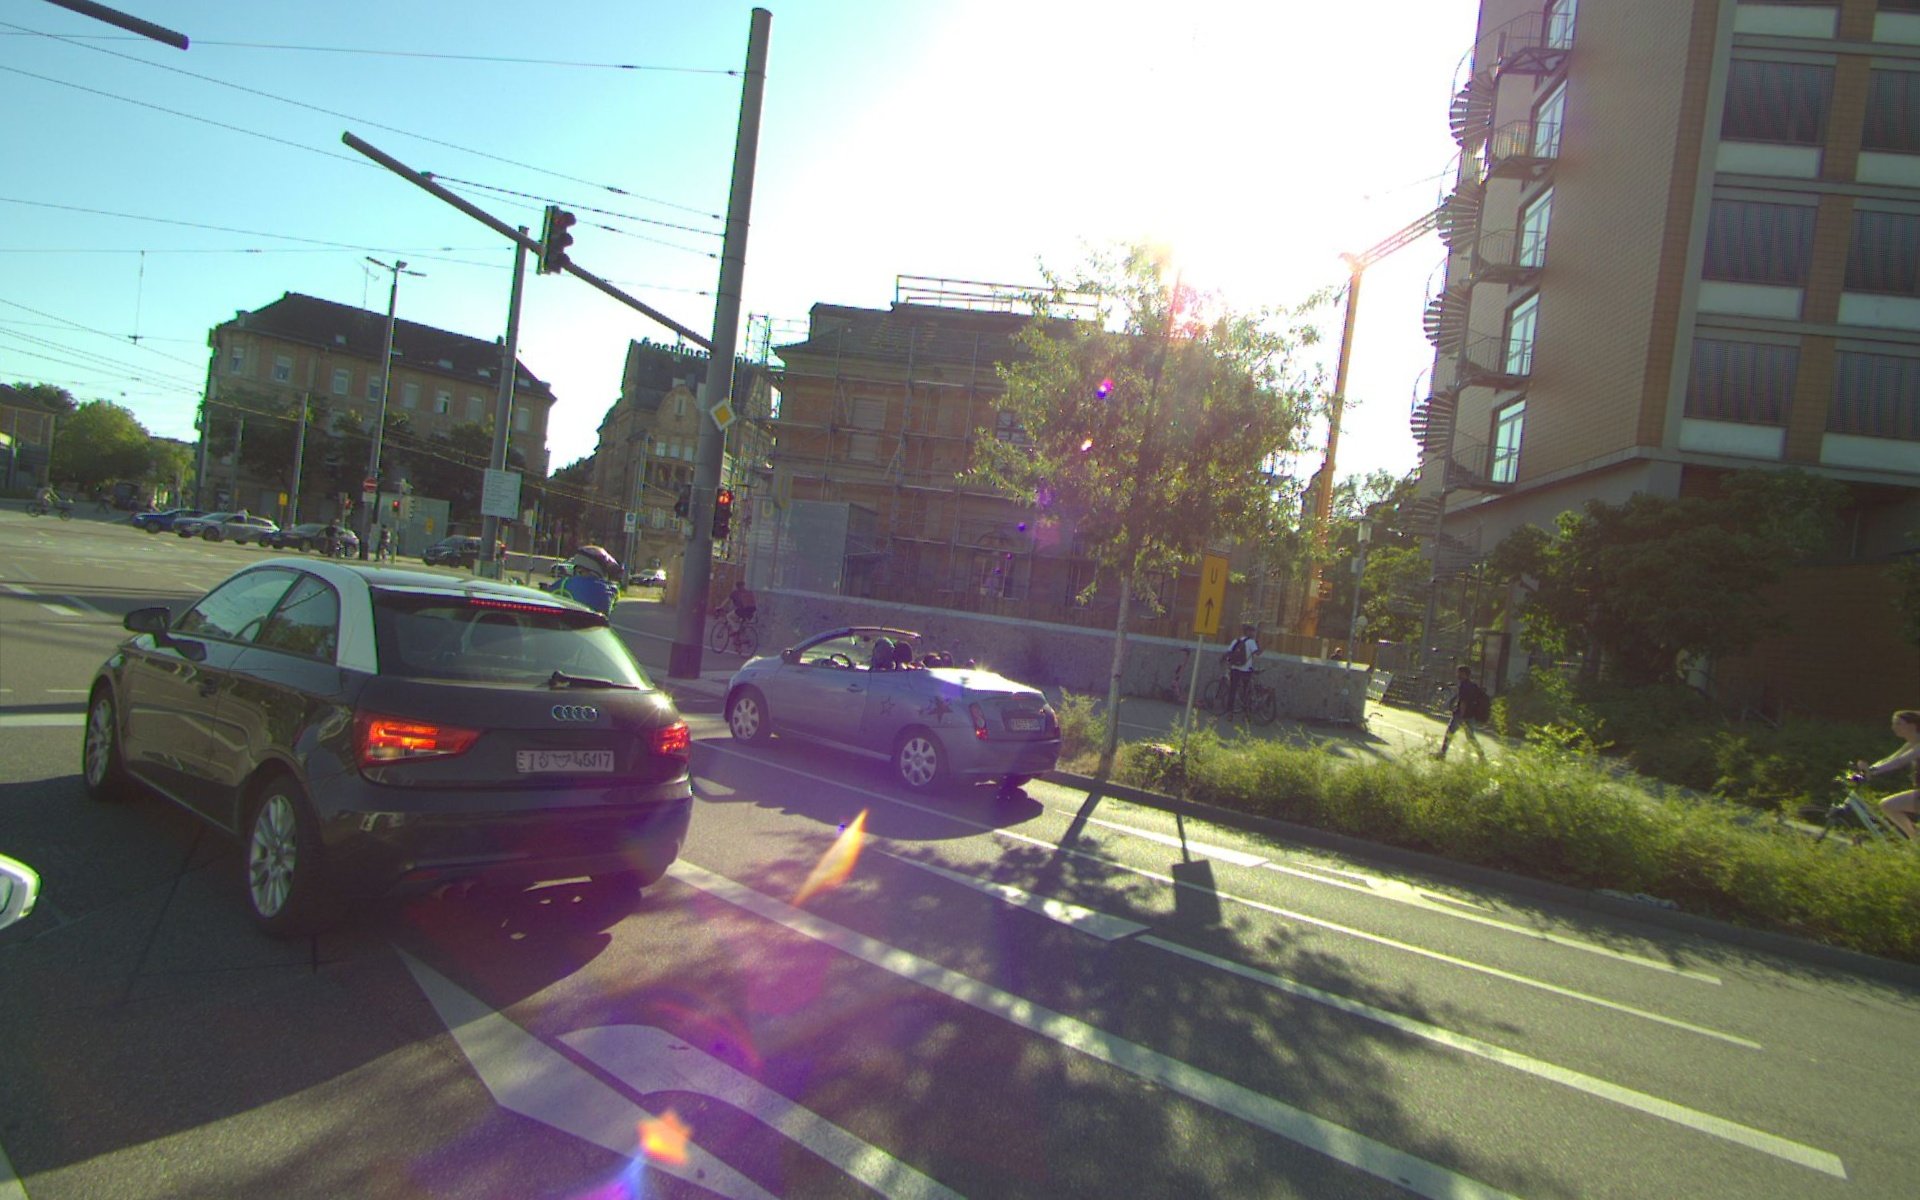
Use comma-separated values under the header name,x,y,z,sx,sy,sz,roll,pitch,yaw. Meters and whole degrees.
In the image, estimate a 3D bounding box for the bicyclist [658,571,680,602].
name,x,y,z,sx,sy,sz,roll,pitch,yaw
bicyclist,-16.992,-0.789,58.792,0.844,1.711,0.651,9,1,1

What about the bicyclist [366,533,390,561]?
name,x,y,z,sx,sy,sz,roll,pitch,yaw
bicyclist,-28.296,-2.575,48.934,0.852,1.191,0.708,9,1,-33

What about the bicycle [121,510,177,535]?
name,x,y,z,sx,sy,sz,roll,pitch,yaw
bicycle,-43.889,-4.191,54.486,0.844,0.971,2.305,9,0,9

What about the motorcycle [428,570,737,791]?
name,x,y,z,sx,sy,sz,roll,pitch,yaw
motorcycle,-3.178,0.595,8.315,2.614,1.393,1.096,6,-1,39

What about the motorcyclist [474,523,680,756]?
name,x,y,z,sx,sy,sz,roll,pitch,yaw
motorcyclist,-3.154,0.329,8.324,0.923,1.741,1.096,7,-1,39

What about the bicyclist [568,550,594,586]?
name,x,y,z,sx,sy,sz,roll,pitch,yaw
bicyclist,-19.805,-1.650,52.587,0.844,1.711,0.651,9,1,20

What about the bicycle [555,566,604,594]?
name,x,y,z,sx,sy,sz,roll,pitch,yaw
bicycle,-19.897,-1.020,52.603,0.844,1.147,2.502,9,0,20

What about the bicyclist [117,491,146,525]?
name,x,y,z,sx,sy,sz,roll,pitch,yaw
bicyclist,-52.027,-5.769,63.158,1.113,1.923,1.063,8,1,-34

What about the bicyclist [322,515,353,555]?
name,x,y,z,sx,sy,sz,roll,pitch,yaw
bicyclist,-29.309,-3.041,47.387,0.844,1.711,0.651,9,1,2

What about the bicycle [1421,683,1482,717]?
name,x,y,z,sx,sy,sz,roll,pitch,yaw
bicycle,16.276,3.299,33.335,1.622,0.868,0.529,7,0,7

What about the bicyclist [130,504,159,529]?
name,x,y,z,sx,sy,sz,roll,pitch,yaw
bicyclist,-43.895,-4.482,54.139,0.822,1.157,0.715,9,1,9

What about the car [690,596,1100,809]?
name,x,y,z,sx,sy,sz,roll,pitch,yaw
car,-0.774,0.962,10.451,3.919,1.461,1.801,7,-2,38

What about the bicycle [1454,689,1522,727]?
name,x,y,z,sx,sy,sz,roll,pitch,yaw
bicycle,15.675,3.205,29.896,1.622,0.868,0.529,7,0,7

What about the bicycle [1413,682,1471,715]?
name,x,y,z,sx,sy,sz,roll,pitch,yaw
bicycle,16.281,3.318,33.997,1.622,0.868,0.529,7,0,7

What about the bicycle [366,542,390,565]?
name,x,y,z,sx,sy,sz,roll,pitch,yaw
bicycle,-28.344,-2.272,48.948,0.852,0.916,2.283,9,0,-32

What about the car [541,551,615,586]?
name,x,y,z,sx,sy,sz,roll,pitch,yaw
car,-26.469,-2.161,69.951,1.917,1.821,4.850,7,0,21

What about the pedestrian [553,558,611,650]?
name,x,y,z,sx,sy,sz,roll,pitch,yaw
pedestrian,-7.405,0.075,19.739,0.686,1.693,0.828,6,2,-1

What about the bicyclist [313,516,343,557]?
name,x,y,z,sx,sy,sz,roll,pitch,yaw
bicyclist,-29.367,-2.951,46.764,0.850,1.800,0.584,7,1,3

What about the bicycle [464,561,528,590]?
name,x,y,z,sx,sy,sz,roll,pitch,yaw
bicycle,-18.960,-0.979,41.173,0.844,0.885,2.502,9,0,17

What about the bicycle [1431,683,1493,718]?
name,x,y,z,sx,sy,sz,roll,pitch,yaw
bicycle,16.266,3.258,32.616,1.622,0.868,0.529,7,0,7

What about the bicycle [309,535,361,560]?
name,x,y,z,sx,sy,sz,roll,pitch,yaw
bicycle,-29.399,-2.470,47.373,0.844,0.916,2.304,9,0,3

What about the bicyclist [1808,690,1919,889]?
name,x,y,z,sx,sy,sz,roll,pitch,yaw
bicyclist,8.933,1.792,9.581,1.076,1.700,0.777,7,3,36

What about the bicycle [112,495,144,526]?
name,x,y,z,sx,sy,sz,roll,pitch,yaw
bicycle,-52.104,-5.585,63.042,1.129,1.711,3.961,7,0,-35

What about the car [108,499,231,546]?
name,x,y,z,sx,sy,sz,roll,pitch,yaw
car,-39.031,-3.801,49.747,4.585,1.613,1.931,8,0,-42

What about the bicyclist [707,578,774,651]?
name,x,y,z,sx,sy,sz,roll,pitch,yaw
bicyclist,-4.594,0.299,21.029,1.060,1.400,0.720,6,-1,38

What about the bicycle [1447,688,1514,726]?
name,x,y,z,sx,sy,sz,roll,pitch,yaw
bicycle,15.741,3.232,30.453,1.622,0.868,0.529,7,0,7

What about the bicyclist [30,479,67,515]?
name,x,y,z,sx,sy,sz,roll,pitch,yaw
bicyclist,-45.854,-5.172,50.633,0.844,1.578,0.927,9,1,15

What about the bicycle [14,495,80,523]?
name,x,y,z,sx,sy,sz,roll,pitch,yaw
bicycle,-45.925,-4.563,50.629,0.844,0.991,2.305,9,0,15

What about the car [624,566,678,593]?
name,x,y,z,sx,sy,sz,roll,pitch,yaw
car,-24.435,-1.562,79.672,1.915,1.582,4.360,9,0,14

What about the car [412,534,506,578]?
name,x,y,z,sx,sy,sz,roll,pitch,yaw
car,-29.177,-2.518,58.776,1.917,1.916,4.852,7,0,17

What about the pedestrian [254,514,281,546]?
name,x,y,z,sx,sy,sz,roll,pitch,yaw
pedestrian,-40.445,-4.107,58.769,0.771,1.695,0.924,7,-1,37

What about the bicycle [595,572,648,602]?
name,x,y,z,sx,sy,sz,roll,pitch,yaw
bicycle,-17.583,-0.678,52.286,2.464,1.147,0.857,9,0,-16

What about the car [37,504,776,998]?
name,x,y,z,sx,sy,sz,roll,pitch,yaw
car,-3.011,0.466,5.143,3.919,1.461,1.801,7,-2,38

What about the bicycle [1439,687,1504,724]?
name,x,y,z,sx,sy,sz,roll,pitch,yaw
bicycle,15.774,3.242,31.036,1.622,0.868,0.529,7,0,7

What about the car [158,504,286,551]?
name,x,y,z,sx,sy,sz,roll,pitch,yaw
car,-35.291,-3.448,48.274,1.917,1.536,4.559,7,-1,20

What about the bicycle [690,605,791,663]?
name,x,y,z,sx,sy,sz,roll,pitch,yaw
bicycle,-4.608,0.693,20.998,2.216,0.963,0.720,5,-2,38

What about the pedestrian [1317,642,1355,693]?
name,x,y,z,sx,sy,sz,roll,pitch,yaw
pedestrian,16.317,2.919,43.658,0.981,2.038,1.293,7,1,40

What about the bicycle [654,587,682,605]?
name,x,y,z,sx,sy,sz,roll,pitch,yaw
bicycle,-17.069,-0.236,58.854,0.844,0.916,2.303,9,0,1

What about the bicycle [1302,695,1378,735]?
name,x,y,z,sx,sy,sz,roll,pitch,yaw
bicycle,7.573,2.288,20.069,1.333,0.547,0.430,8,2,24

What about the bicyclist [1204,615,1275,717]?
name,x,y,z,sx,sy,sz,roll,pitch,yaw
bicyclist,5.291,1.238,19.048,0.784,1.809,0.883,4,2,-44

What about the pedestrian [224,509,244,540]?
name,x,y,z,sx,sy,sz,roll,pitch,yaw
pedestrian,-42.704,-4.437,59.146,0.546,1.674,0.641,7,1,0

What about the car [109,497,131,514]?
name,x,y,z,sx,sy,sz,roll,pitch,yaw
car,-103.688,-11.728,124.213,1.794,1.675,3.874,9,0,-39

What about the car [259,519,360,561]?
name,x,y,z,sx,sy,sz,roll,pitch,yaw
car,-31.729,-2.901,49.236,1.916,1.504,4.104,7,0,5

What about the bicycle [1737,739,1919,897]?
name,x,y,z,sx,sy,sz,roll,pitch,yaw
bicycle,8.919,2.133,9.584,2.256,1.171,0.777,7,3,36

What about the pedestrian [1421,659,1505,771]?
name,x,y,z,sx,sy,sz,roll,pitch,yaw
pedestrian,8.305,1.888,16.606,0.802,1.677,0.782,9,-2,-36

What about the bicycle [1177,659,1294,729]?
name,x,y,z,sx,sy,sz,roll,pitch,yaw
bicycle,5.211,1.760,19.103,0.786,1.052,1.938,4,1,-44

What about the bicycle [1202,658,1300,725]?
name,x,y,z,sx,sy,sz,roll,pitch,yaw
bicycle,5.733,1.796,19.955,0.620,1.052,1.950,5,1,-26

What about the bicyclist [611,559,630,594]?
name,x,y,z,sx,sy,sz,roll,pitch,yaw
bicyclist,-17.623,-1.203,52.251,0.642,1.711,0.857,8,1,-16

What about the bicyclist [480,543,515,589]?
name,x,y,z,sx,sy,sz,roll,pitch,yaw
bicyclist,-18.907,-1.399,41.128,0.844,1.711,0.748,9,1,17

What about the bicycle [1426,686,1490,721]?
name,x,y,z,sx,sy,sz,roll,pitch,yaw
bicycle,15.670,3.251,31.678,1.622,0.868,0.529,7,0,7
